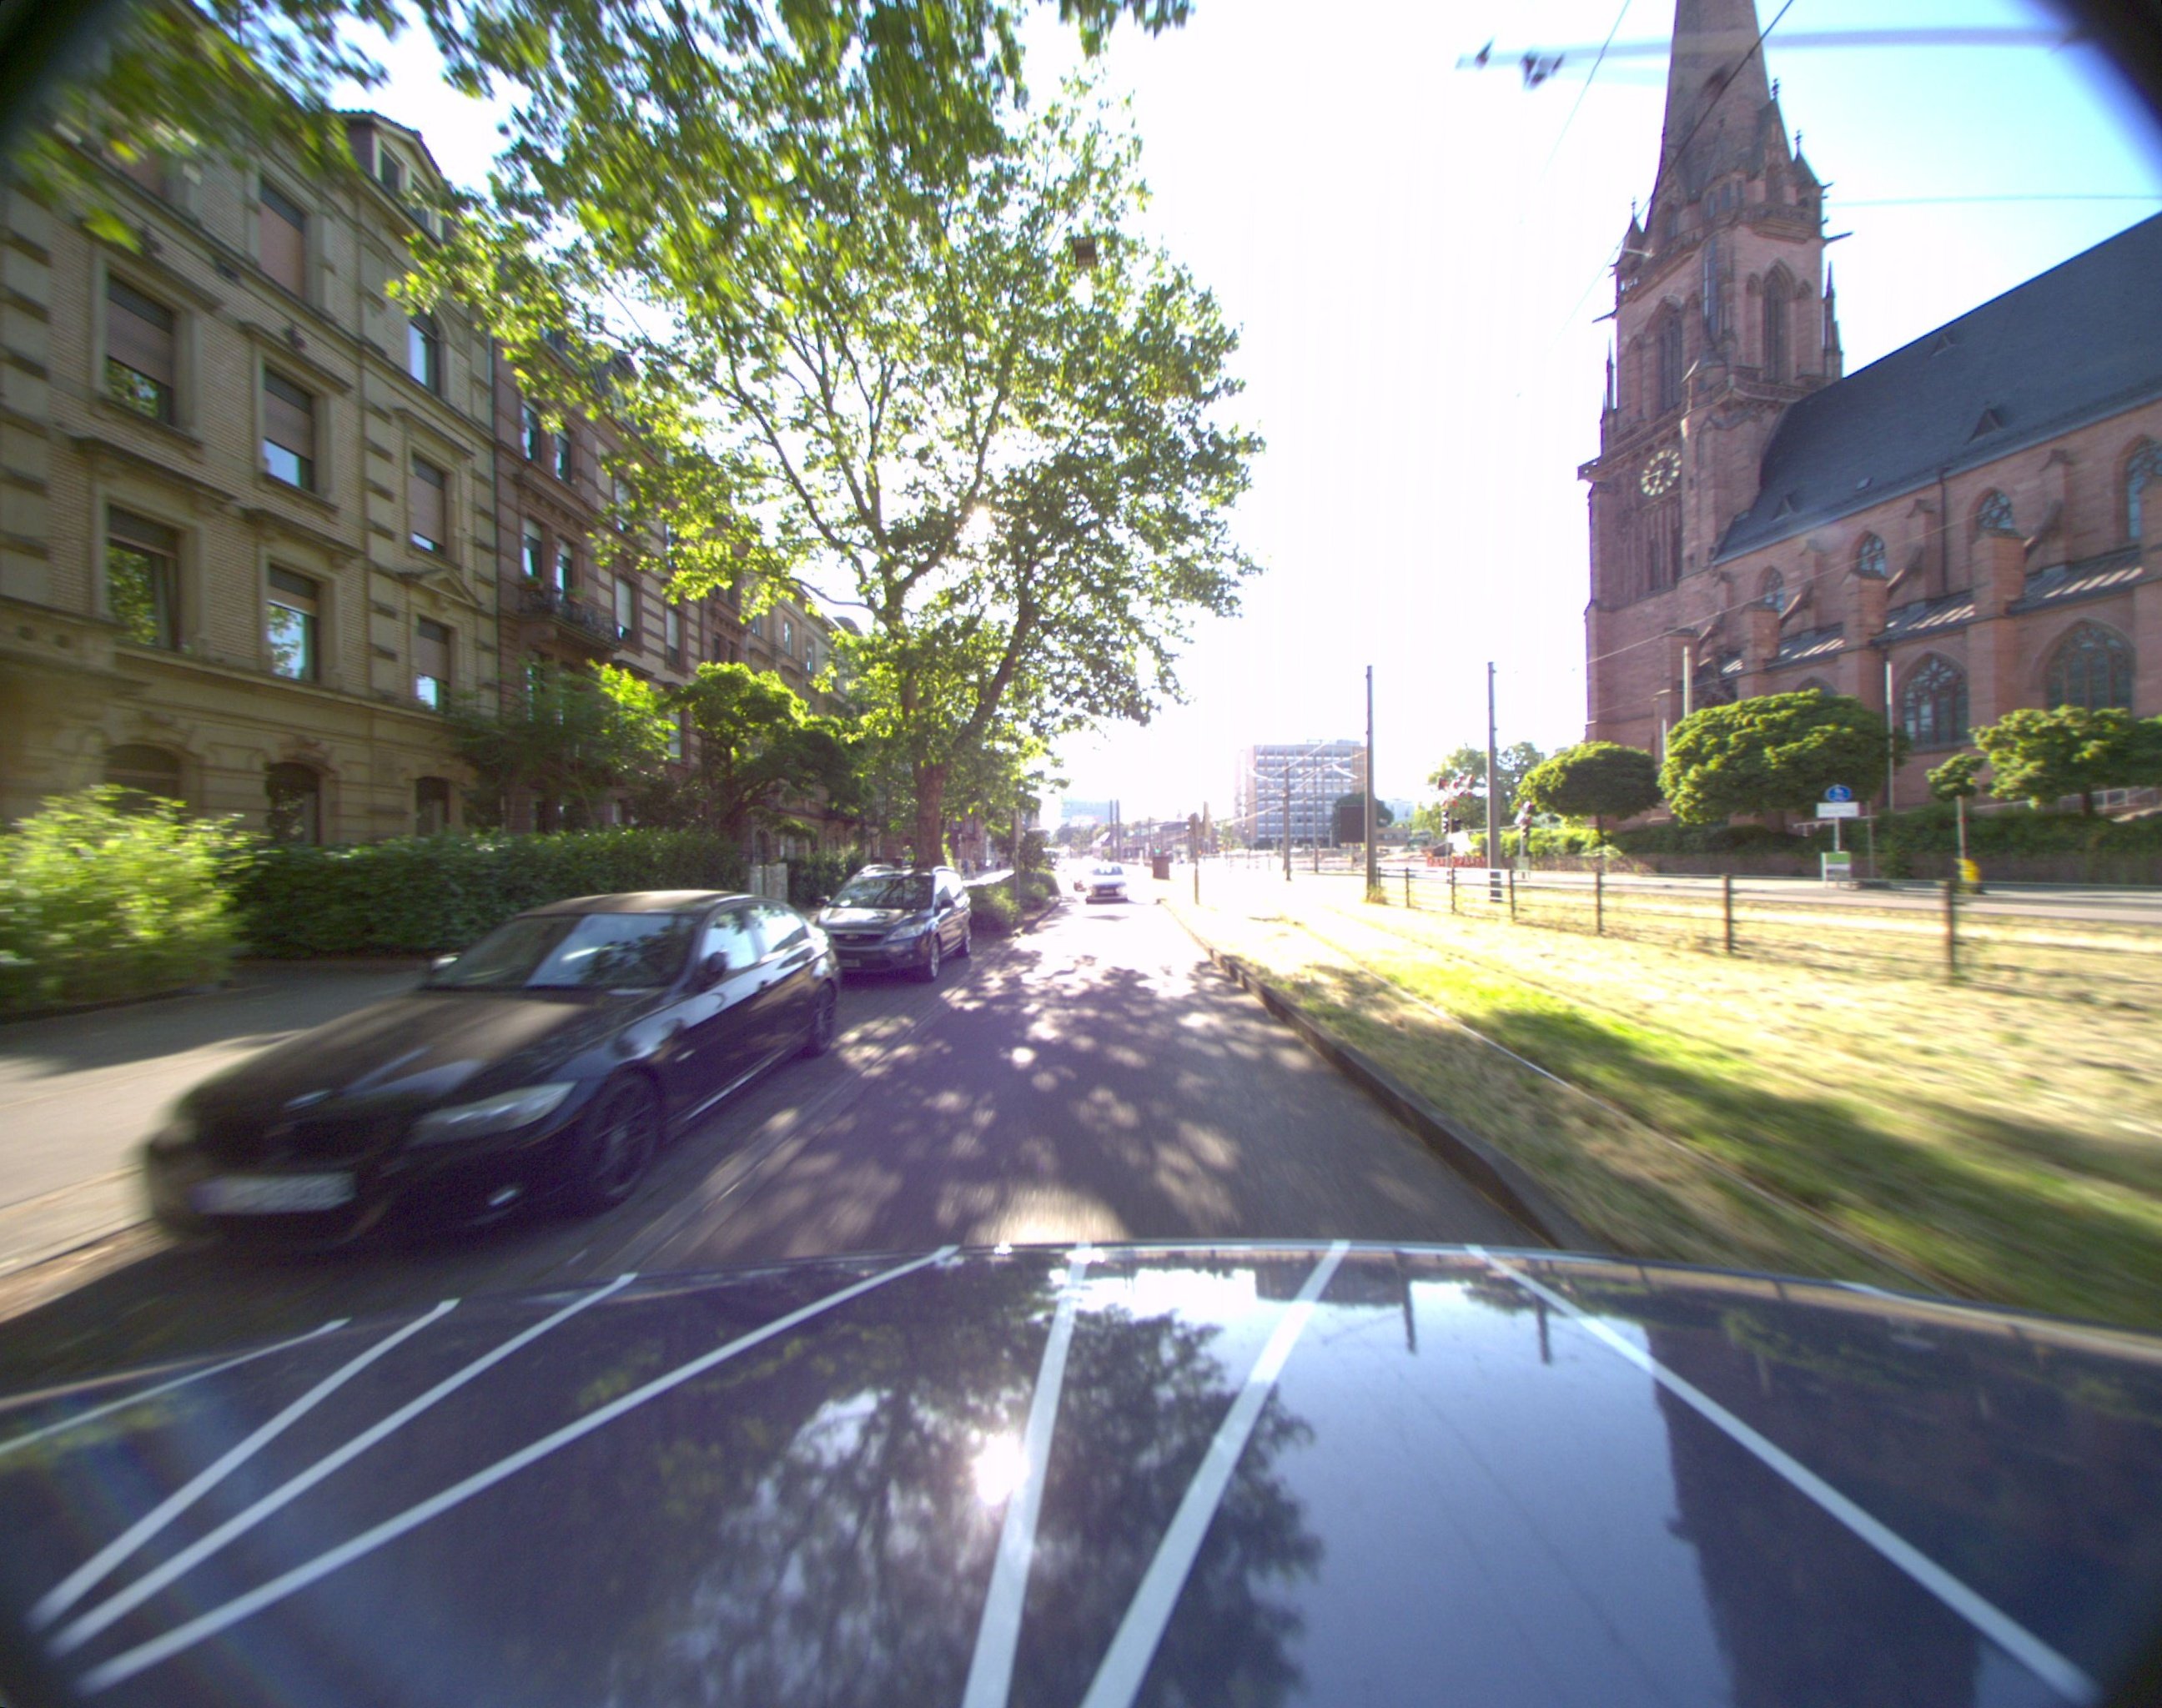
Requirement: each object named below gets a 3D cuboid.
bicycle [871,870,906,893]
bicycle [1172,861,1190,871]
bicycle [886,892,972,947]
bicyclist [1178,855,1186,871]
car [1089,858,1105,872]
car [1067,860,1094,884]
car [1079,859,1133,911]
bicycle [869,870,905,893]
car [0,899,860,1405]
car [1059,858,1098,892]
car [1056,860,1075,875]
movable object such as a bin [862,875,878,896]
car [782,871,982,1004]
[{"bbox_3d":[-10.196,1.447,40.263,1.737,1.088,0.496,-3,0,-12],"label":"bicycle"},{"bbox_3d":[12.624,1.529,95.619,2.063,1.077,0.611,-3,0,18],"label":"bicycle"},{"bbox_3d":[-3.088,1.321,15.504,1.638,0.956,0.337,-3,0,-27],"label":"bicycle"},{"bbox_3d":[12.678,1.118,95.586,0.775,1.860,0.611,-3,0,18],"label":"bicyclist"},{"bbox_3d":[2.030,1.362,95.655,1.823,1.605,4.000,-3,0,1],"label":"car"},{"bbox_3d":[-0.049,1.268,55.240,1.823,1.605,4.000,-3,0,0],"label":"car"},{"bbox_3d":[0.944,1.096,28.857,1.823,1.728,4.000,-3,0,1],"label":"car"},{"bbox_3d":[-10.002,1.429,39.263,1.737,1.088,0.496,-3,0,-12],"label":"bicycle"},{"bbox_3d":[-2.922,1.098,4.749,1.680,1.386,4.570,0,0,1],"label":"car"},{"bbox_3d":[-0.081,1.079,40.428,1.823,1.605,4.000,-3,0,1],"label":"car"},{"bbox_3d":[-1.728,1.497,86.395,1.823,1.605,4.000,-3,0,1],"label":"car"},{"bbox_3d":[-9.677,1.453,34.820,0.604,0.893,0.717,-3,0,-10],"label":"movable object such as a bin"},{"bbox_3d":[-2.698,1.051,11.482,1.680,1.507,4.723,0,0,1],"label":"car"}]
